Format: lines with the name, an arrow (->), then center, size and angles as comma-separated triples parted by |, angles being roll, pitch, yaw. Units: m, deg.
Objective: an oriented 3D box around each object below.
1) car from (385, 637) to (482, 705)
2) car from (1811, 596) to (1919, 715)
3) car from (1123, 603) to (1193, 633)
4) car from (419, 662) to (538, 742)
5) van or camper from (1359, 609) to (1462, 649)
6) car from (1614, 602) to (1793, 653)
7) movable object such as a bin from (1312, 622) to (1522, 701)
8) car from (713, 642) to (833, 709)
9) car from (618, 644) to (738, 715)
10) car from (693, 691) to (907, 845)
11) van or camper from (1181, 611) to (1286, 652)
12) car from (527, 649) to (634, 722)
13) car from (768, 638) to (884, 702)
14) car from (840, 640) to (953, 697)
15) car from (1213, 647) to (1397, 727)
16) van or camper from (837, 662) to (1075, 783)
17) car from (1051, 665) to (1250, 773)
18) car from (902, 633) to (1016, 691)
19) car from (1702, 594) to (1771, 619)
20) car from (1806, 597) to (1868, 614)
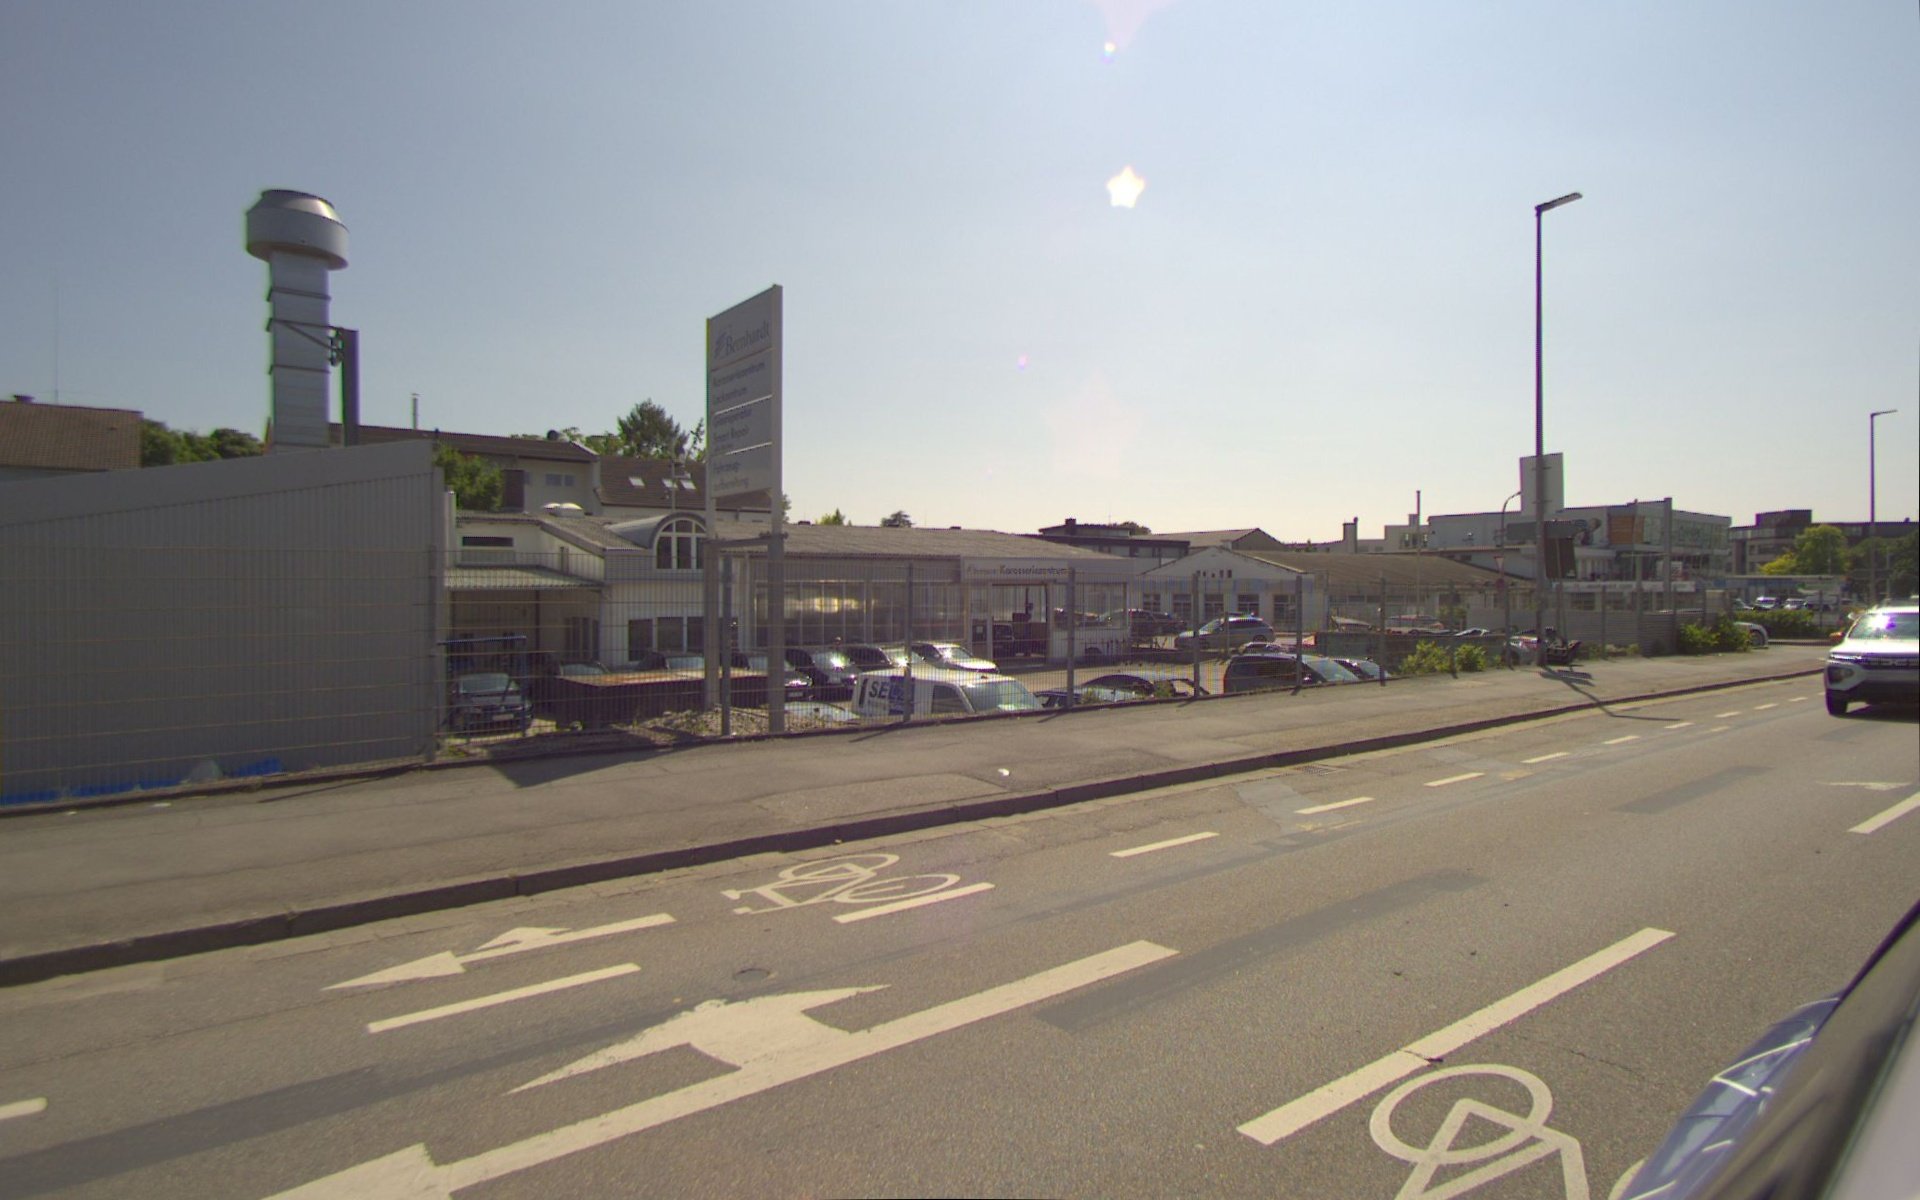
car -> -16.538, 2.156, 31.698 | 1.882, 1.880, 3.994 | -1, -1, -40
car -> 13.477, 0.692, 13.985 | 3.607, 1.503, 1.727 | -1, -1, -35
car -> 12.551, 1.139, 64.239 | 1.965, 1.817, 3.992 | 1, -2, -42
car -> -12.691, 2.585, 26.546 | 1.814, 1.534, 3.994 | -3, 2, -41
van or camper -> 17.834, 1.137, 40.021 | 4.154, 1.369, 1.996 | 0, -6, -40
car -> 23.726, 0.894, 32.375 | 4.405, 1.376, 1.960 | -2, -3, -8
movable object such as a bin -> 13.025, 1.732, 29.162 | 1.964, 2.040, 5.125 | 0, -3, -38
car -> -5.952, 2.308, 31.886 | 1.966, 1.682, 3.994 | -3, 2, -41
car -> -8.502, 2.301, 30.373 | 1.965, 1.682, 3.995 | 0, 1, -41
car -> -2.829, 2.690, 17.185 | 1.818, 2.040, 3.994 | 0, -2, -39
van or camper -> 12.514, 1.430, 46.401 | 4.141, 1.561, 2.006 | -1, 5, -11
car -> -11.080, 2.416, 29.425 | 1.828, 1.683, 3.997 | 0, 1, -38
car -> -4.533, 2.271, 33.786 | 1.966, 1.682, 3.994 | -3, 2, -41
car -> -2.229, 2.274, 34.607 | 1.815, 1.534, 3.994 | -3, 2, -41
car -> 8.655, 2.122, 25.621 | 1.964, 1.672, 3.995 | 0, 0, -39
van or camper -> -0.180, 2.099, 18.445 | 1.986, 1.672, 4.318 | 0, -1, -42
car -> 4.133, 2.533, 22.495 | 1.964, 2.040, 3.994 | 0, -2, -39
car -> -0.082, 2.161, 36.462 | 1.966, 1.682, 3.994 | -3, 2, -41
car -> 78.875, 0.616, 102.881 | 2.286, 2.449, 5.303 | 0, 0, -42
car -> 87.809, 0.535, 101.339 | 1.966, 1.699, 4.544 | 0, 0, -42
